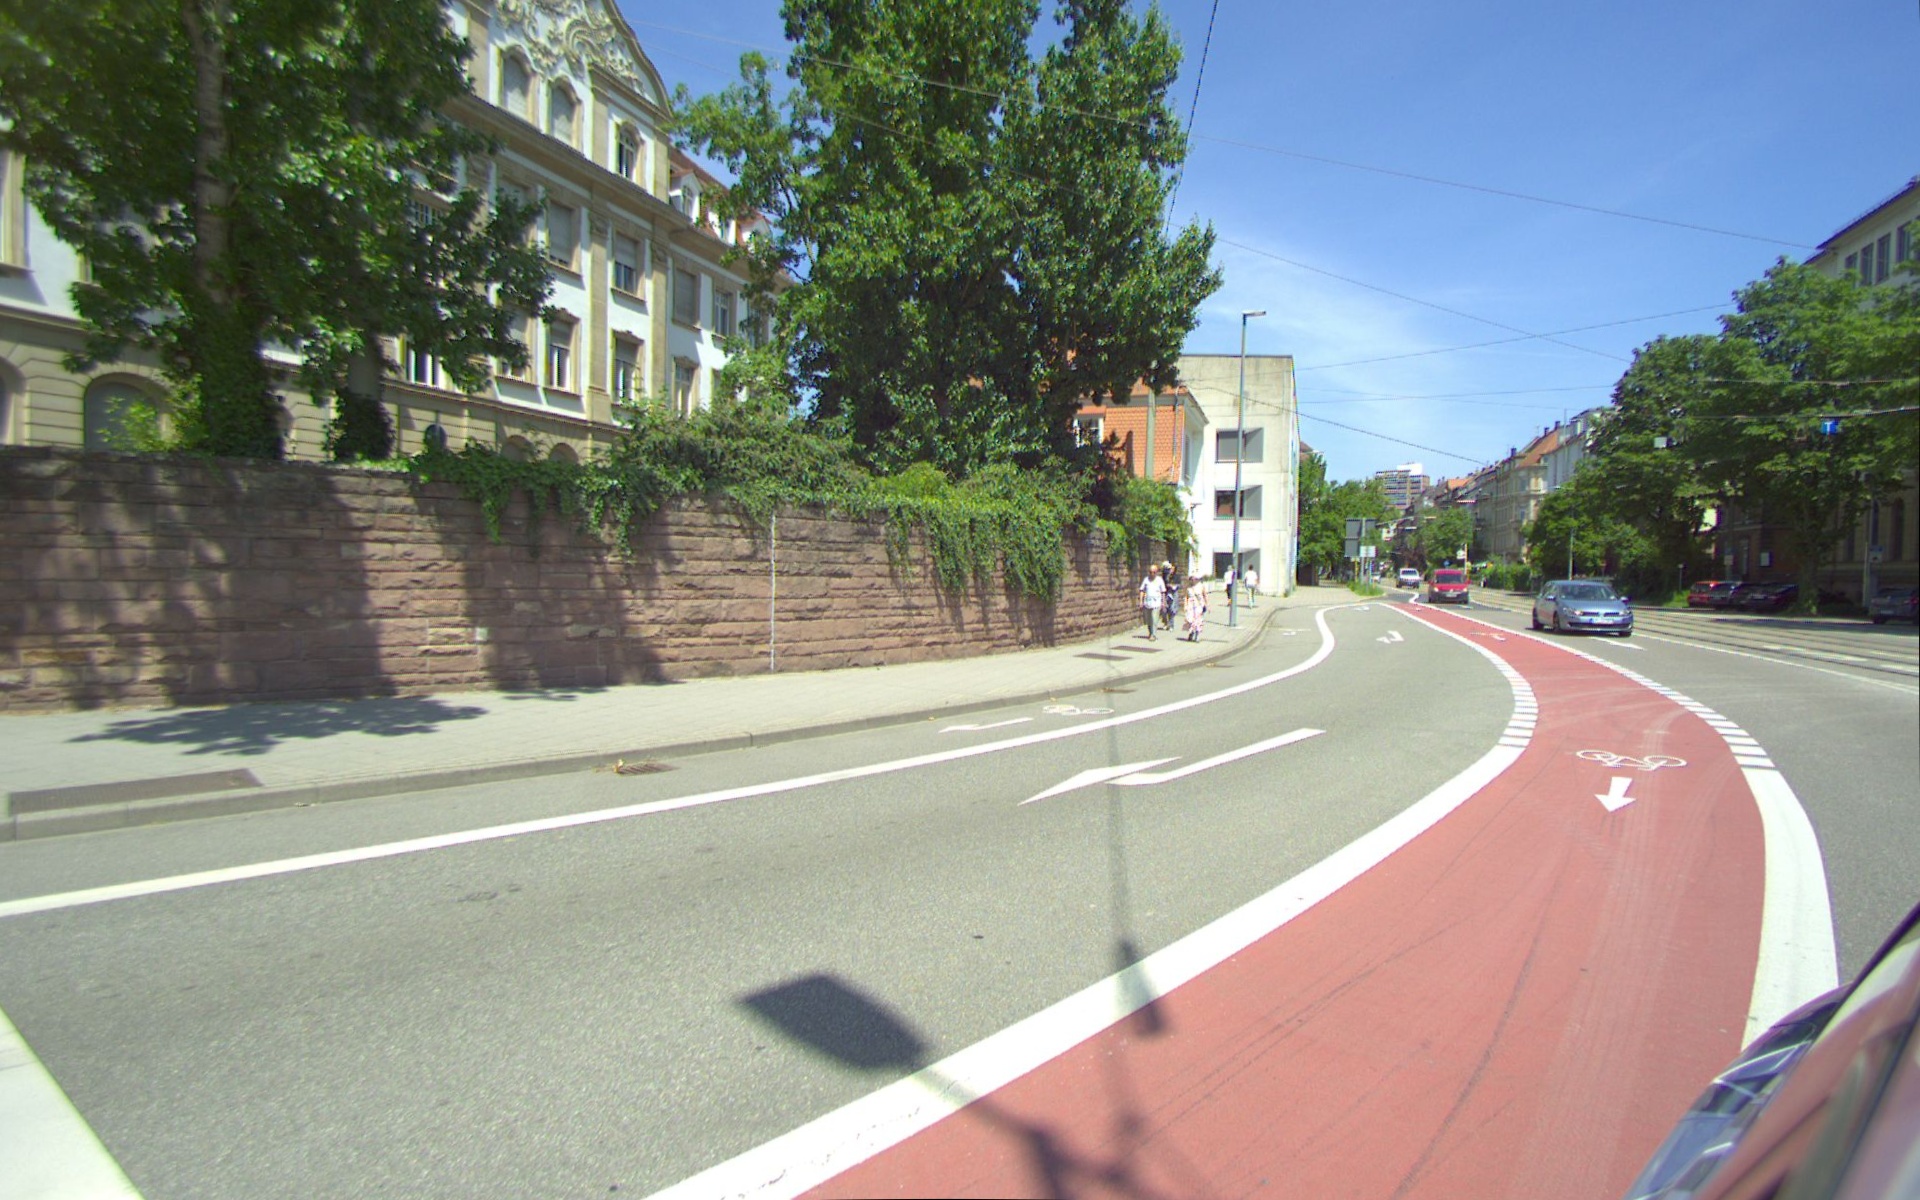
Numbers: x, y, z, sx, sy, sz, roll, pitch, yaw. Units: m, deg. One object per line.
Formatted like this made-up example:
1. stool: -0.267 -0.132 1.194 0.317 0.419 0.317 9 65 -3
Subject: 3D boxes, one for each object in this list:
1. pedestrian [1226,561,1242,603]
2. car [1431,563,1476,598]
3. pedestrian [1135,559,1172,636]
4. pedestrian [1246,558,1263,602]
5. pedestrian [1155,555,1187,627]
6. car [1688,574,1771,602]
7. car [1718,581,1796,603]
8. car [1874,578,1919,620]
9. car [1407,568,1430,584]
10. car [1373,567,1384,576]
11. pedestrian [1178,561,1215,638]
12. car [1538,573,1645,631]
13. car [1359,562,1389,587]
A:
1. pedestrian: 10.947 -0.733 40.450 0.484 1.625 0.554 4 2 22
2. car: 26.041 -1.006 53.537 1.812 1.788 4.248 0 0 22
3. pedestrian: 4.230 -0.053 22.157 0.598 1.631 0.554 4 2 23
4. pedestrian: 11.662 -0.790 40.098 0.484 1.733 0.517 4 2 22
5. pedestrian: 5.256 -0.224 25.162 0.598 1.733 0.554 4 2 22
6. car: 42.326 -0.667 55.717 3.505 1.471 1.618 0 0 -8
7. car: 40.847 -0.392 51.927 2.934 1.113 1.280 0 0 3
8. car: 35.486 -0.040 36.745 3.092 1.481 1.571 0 0 3
9. car: 44.869 -2.363 99.153 1.813 1.409 4.248 2 2 22
10. car: 60.956 -4.148 147.437 1.409 1.341 2.967 0 0 21
11. pedestrian: 5.181 -0.022 22.183 0.598 1.631 0.554 4 2 23
12. car: 17.252 -0.002 27.841 1.812 1.431 3.966 1 2 22
13. car: 30.701 -1.918 75.141 1.796 1.729 3.975 2 2 20
